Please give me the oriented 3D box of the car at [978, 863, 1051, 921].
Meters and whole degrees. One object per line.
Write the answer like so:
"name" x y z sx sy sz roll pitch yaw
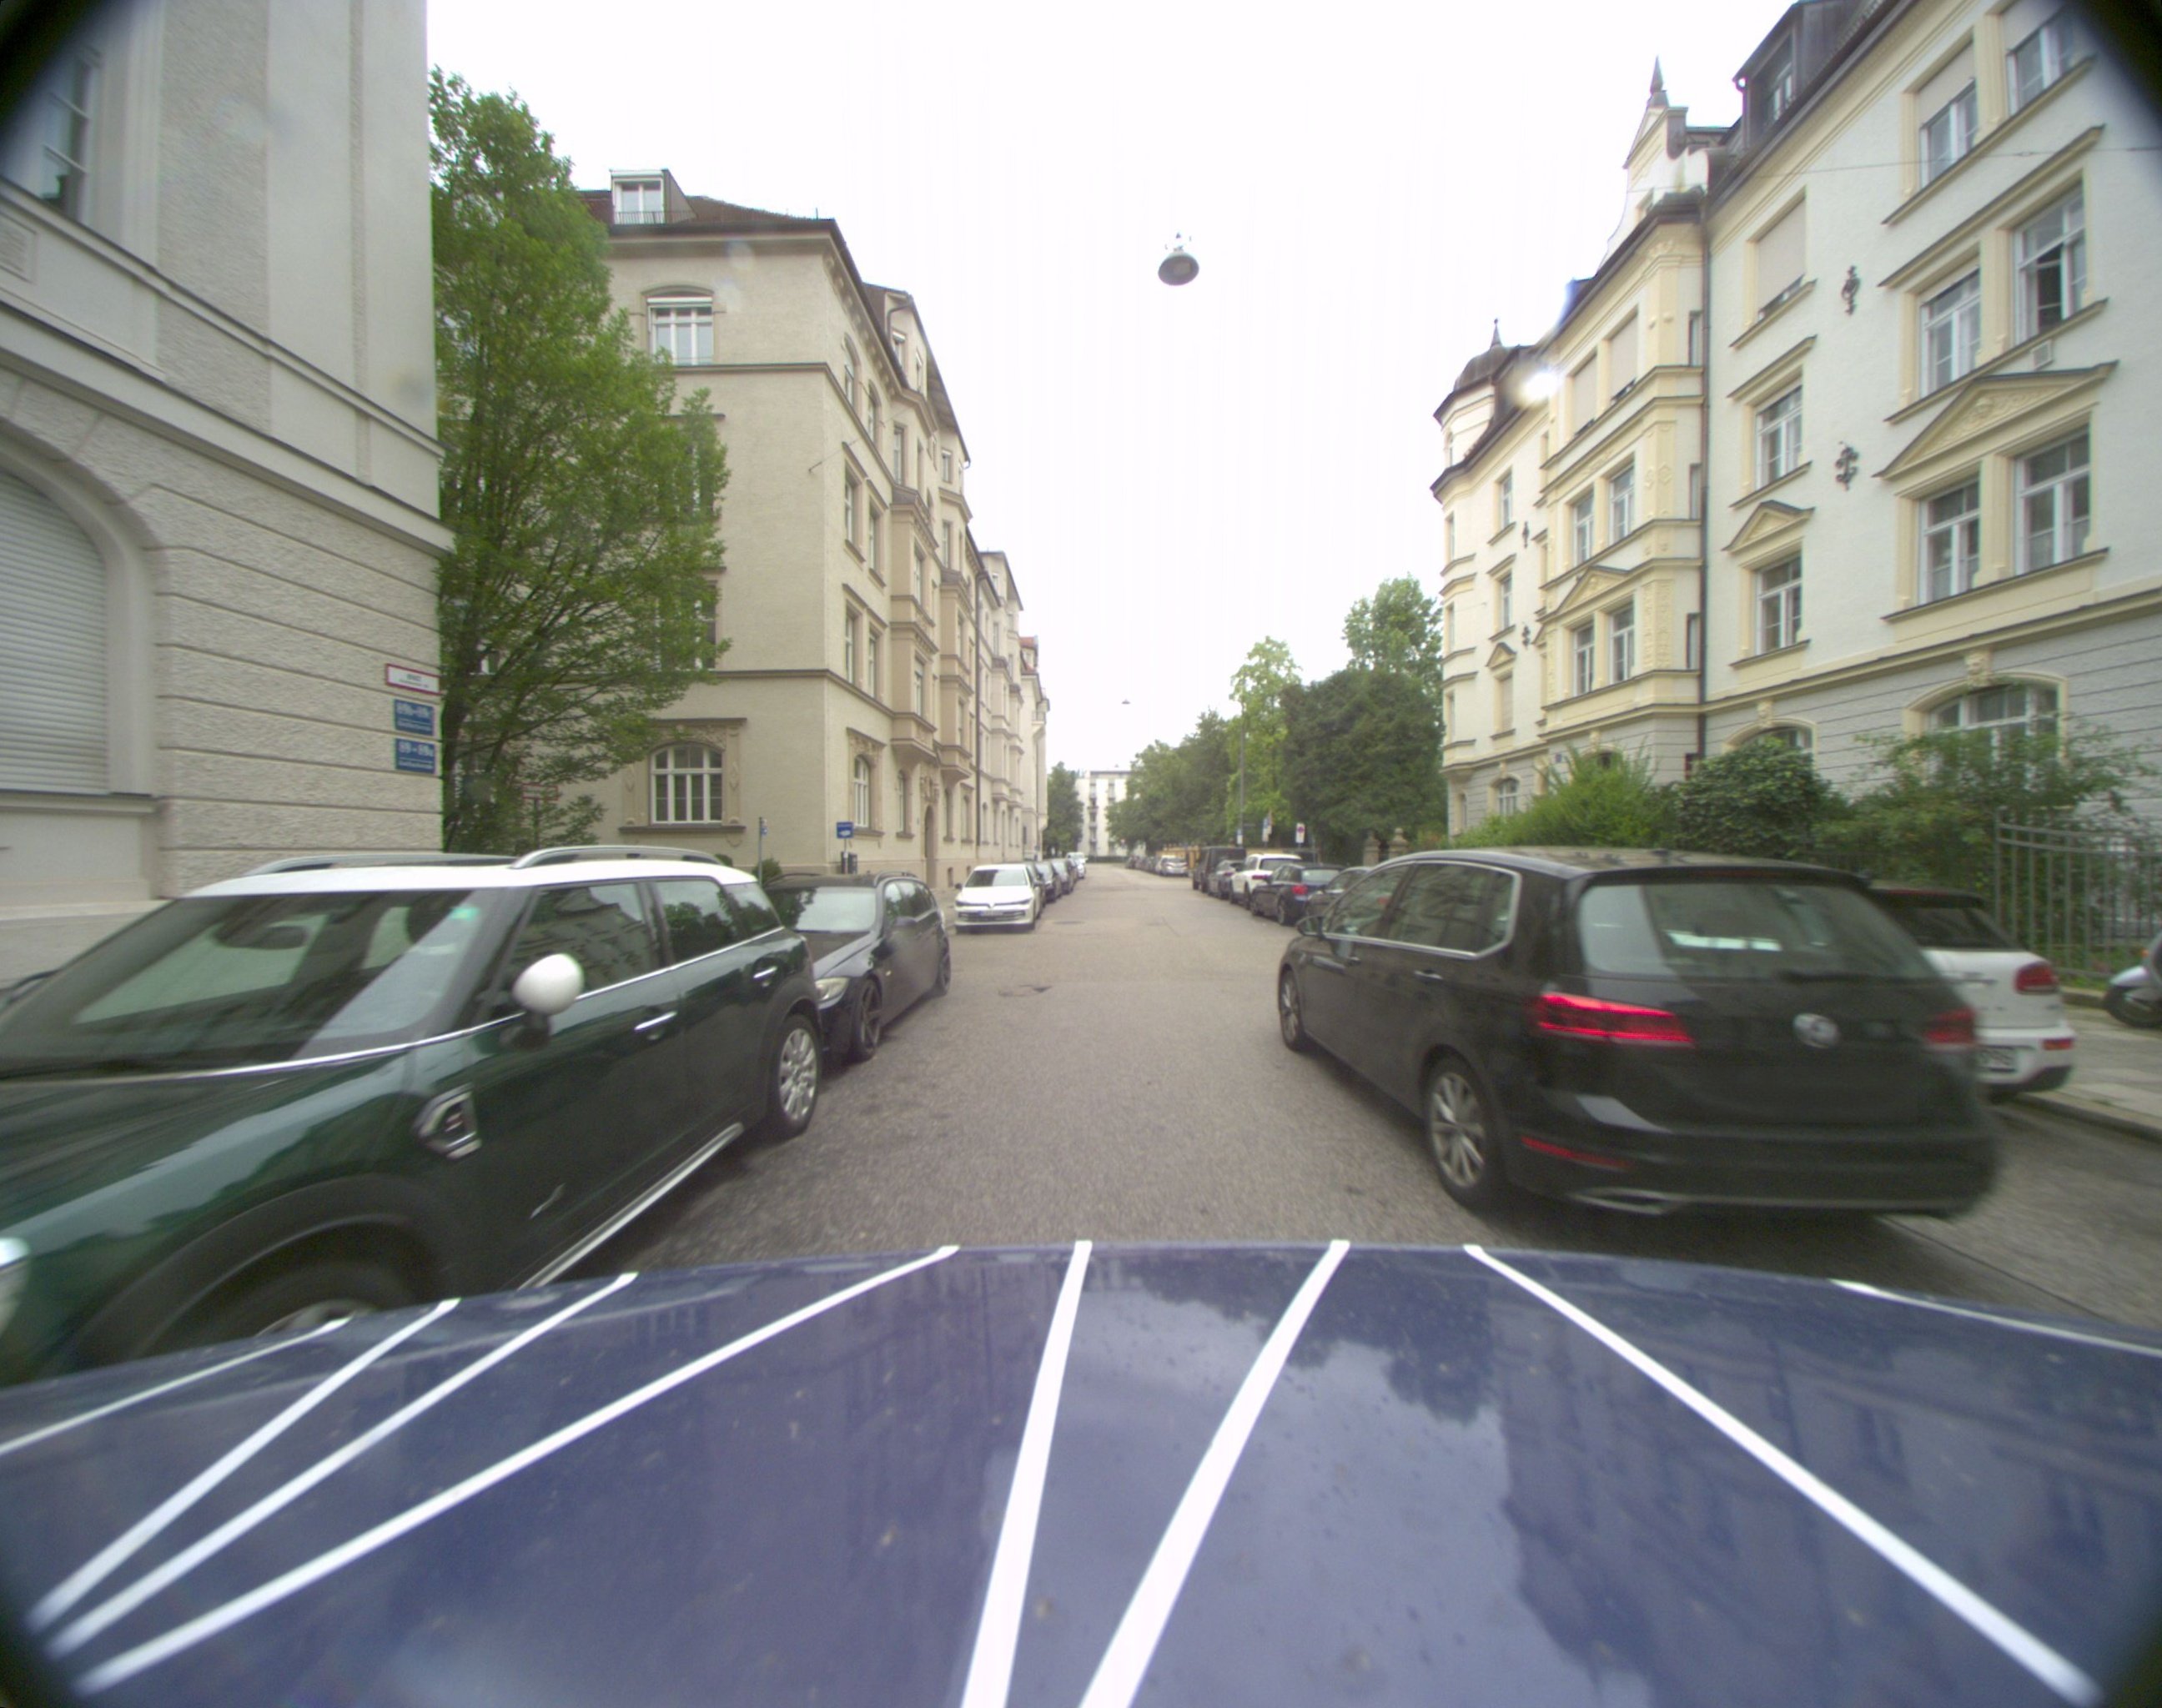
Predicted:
"car" -1.900 1.049 22.770 1.796 1.489 4.082 -3 -1 -1

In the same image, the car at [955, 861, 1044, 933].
"car" -1.818 0.936 18.061 1.667 1.498 4.065 -1 -1 0

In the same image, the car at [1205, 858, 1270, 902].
"car" 5.764 0.923 28.381 1.646 1.422 3.919 2 0 1

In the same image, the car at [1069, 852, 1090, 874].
"car" -0.147 0.821 71.497 1.794 1.926 4.085 -2 0 0

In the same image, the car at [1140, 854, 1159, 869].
"car" 7.269 0.749 80.480 1.653 1.552 3.930 1 0 1

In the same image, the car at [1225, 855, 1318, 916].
"car" 5.707 0.877 23.304 1.810 1.638 4.486 1 0 2

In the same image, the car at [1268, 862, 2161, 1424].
"car" 2.360 0.869 4.289 1.728 1.525 4.086 2 0 3

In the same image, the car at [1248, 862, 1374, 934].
"car" 5.280 0.949 18.005 1.773 1.412 3.999 0 1 0

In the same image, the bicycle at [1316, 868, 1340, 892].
"bicycle" 9.851 1.026 30.357 0.451 0.946 1.637 -1 -1 0

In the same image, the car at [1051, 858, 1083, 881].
"car" -0.832 0.949 48.187 1.714 1.382 4.001 -2 0 2

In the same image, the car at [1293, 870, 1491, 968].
"car" 5.217 1.011 13.411 1.739 1.357 4.193 1 0 0

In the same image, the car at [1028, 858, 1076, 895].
"car" -1.181 0.922 32.441 1.645 1.409 4.001 -1 0 3

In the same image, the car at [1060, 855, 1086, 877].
"car" -0.558 0.796 53.016 1.715 1.462 4.085 -2 0 0

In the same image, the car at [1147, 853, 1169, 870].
"car" 7.229 0.689 71.501 1.653 1.552 3.930 1 0 1

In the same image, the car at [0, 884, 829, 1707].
"car" -2.531 0.955 2.598 1.752 1.516 4.171 -1 0 3

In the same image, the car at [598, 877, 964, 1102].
"car" -2.414 1.009 7.384 1.715 1.443 4.225 -1 0 2

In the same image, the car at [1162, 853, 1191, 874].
"car" 7.041 0.695 56.234 1.704 1.483 3.956 1 0 1

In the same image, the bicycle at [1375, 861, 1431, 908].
"bicycle" 9.414 0.860 22.335 0.698 1.252 2.531 1 0 3

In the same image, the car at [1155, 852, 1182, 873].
"car" 7.008 0.663 61.231 1.704 1.552 3.930 -1 0 1

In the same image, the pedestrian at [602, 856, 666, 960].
"pedestrian" -7.416 0.881 12.604 0.855 1.647 0.865 1 -3 -32

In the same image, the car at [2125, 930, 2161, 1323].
"car" 4.690 1.003 0.794 1.649 1.395 4.000 2 0 0

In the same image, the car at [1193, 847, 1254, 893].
"car" 6.116 0.624 33.090 1.917 1.875 4.817 0 1 2

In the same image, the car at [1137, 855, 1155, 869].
"car" 7.289 0.874 85.551 1.653 1.552 3.930 1 0 1

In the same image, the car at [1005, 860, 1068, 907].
"car" -1.535 1.016 27.577 1.746 1.390 4.022 -3 1 3

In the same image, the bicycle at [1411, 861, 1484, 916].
"bicycle" 9.431 0.847 19.686 0.757 1.289 2.531 1 0 3

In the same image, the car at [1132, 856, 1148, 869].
"car" 6.980 0.992 89.729 1.653 1.552 3.930 1 0 1

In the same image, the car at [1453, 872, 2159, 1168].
"car" 4.794 0.928 6.036 1.801 1.426 4.080 -1 0 2

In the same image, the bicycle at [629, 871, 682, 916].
"bicycle" -9.217 0.831 16.500 0.453 0.903 1.130 1 1 4

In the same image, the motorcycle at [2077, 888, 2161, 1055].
"motorcycle" 8.661 0.927 5.435 0.706 1.242 1.821 -2 1 1
